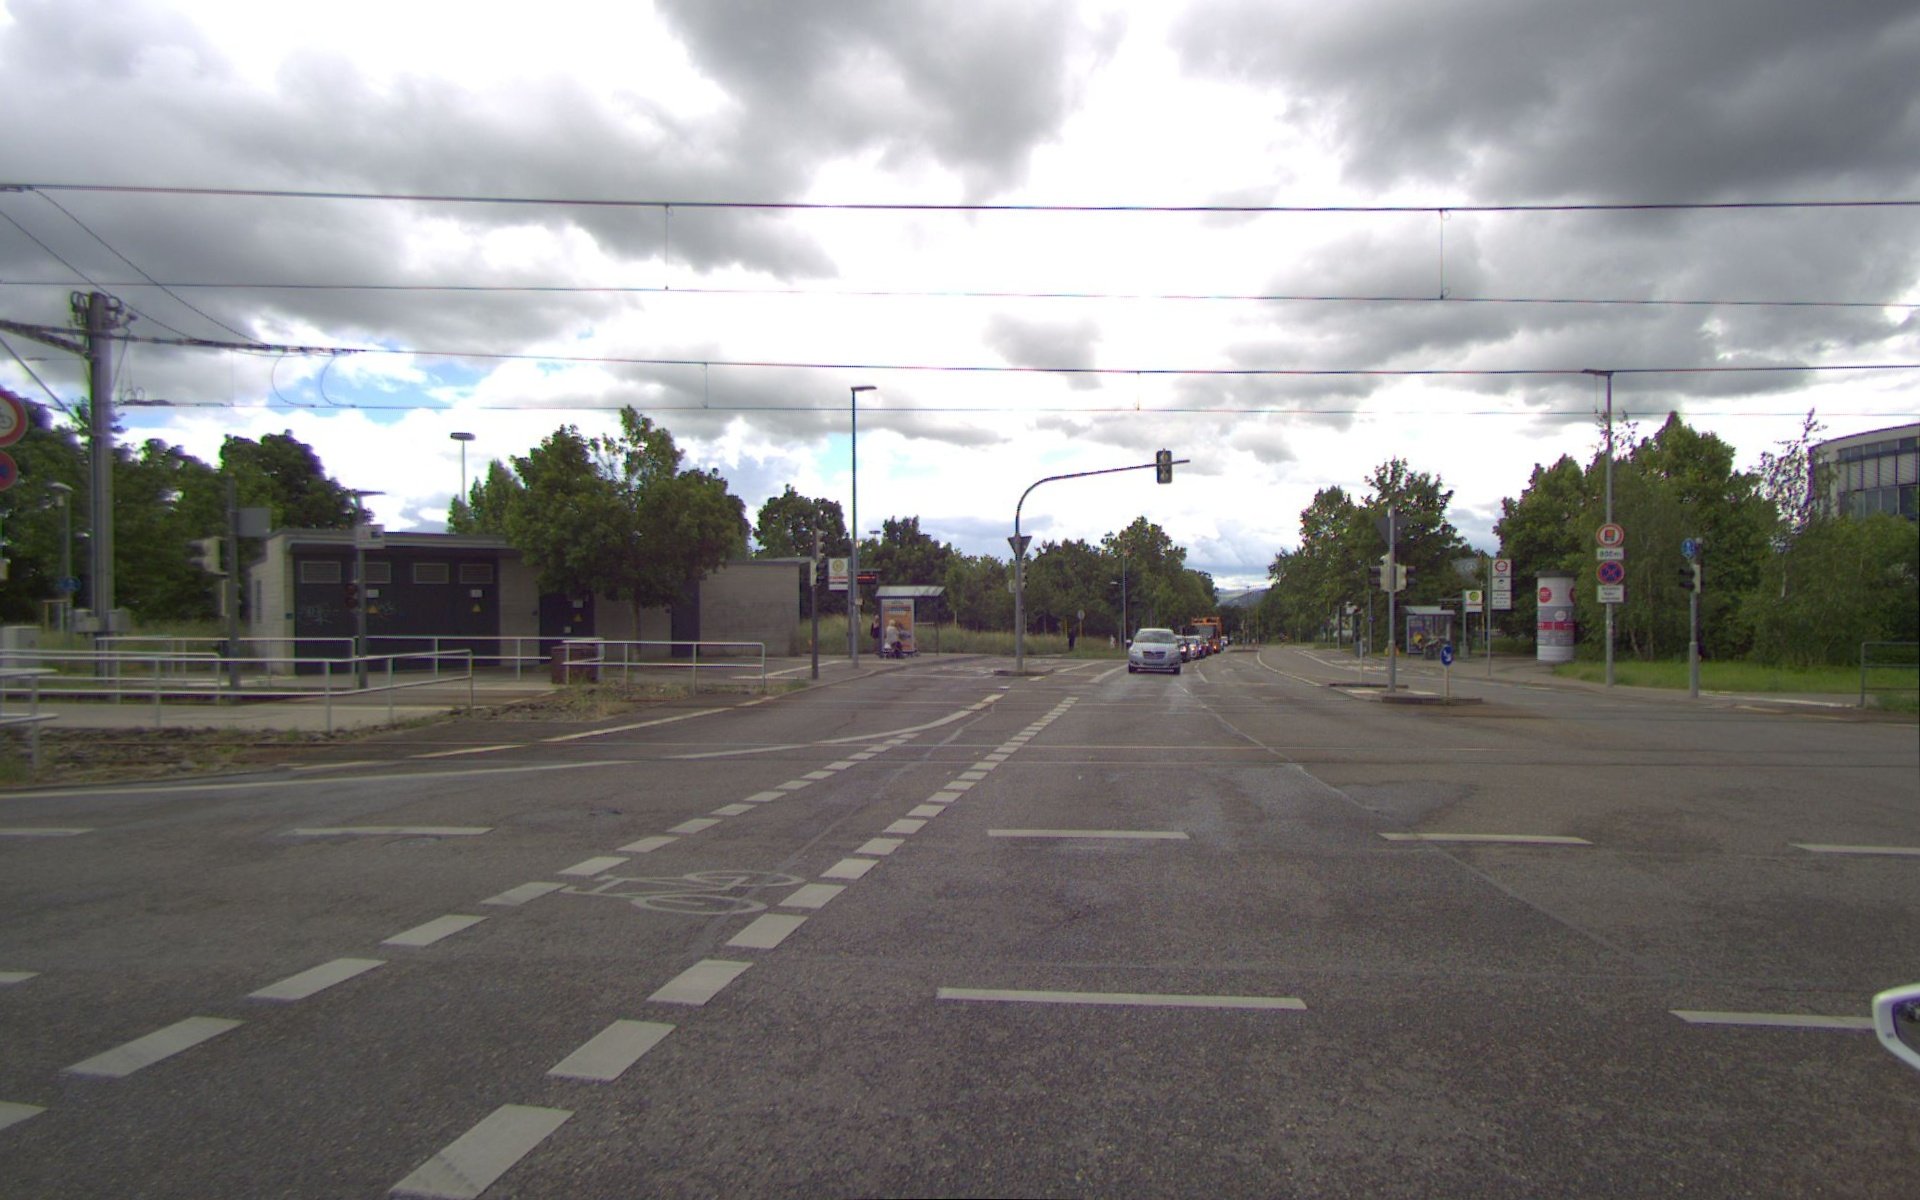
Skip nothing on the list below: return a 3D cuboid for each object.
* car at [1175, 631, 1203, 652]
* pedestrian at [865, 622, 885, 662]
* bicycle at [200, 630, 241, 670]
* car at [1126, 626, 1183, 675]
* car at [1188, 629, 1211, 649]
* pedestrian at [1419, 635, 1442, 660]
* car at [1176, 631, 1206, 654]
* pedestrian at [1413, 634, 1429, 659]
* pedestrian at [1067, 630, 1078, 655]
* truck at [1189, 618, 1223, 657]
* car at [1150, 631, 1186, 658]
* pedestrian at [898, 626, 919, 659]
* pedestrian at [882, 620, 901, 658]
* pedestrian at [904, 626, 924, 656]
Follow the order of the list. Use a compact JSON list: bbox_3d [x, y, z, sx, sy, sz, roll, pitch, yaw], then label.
[{"bbox_3d":[15.714,2.816,68.794,1.612,1.409,4.888,-1,-2,16],"label":"car"},{"bbox_3d":[-3.640,1.791,42.969,0.543,1.692,0.635,-1,-2,43],"label":"pedestrian"},{"bbox_3d":[-21.974,1.451,29.824,0.674,1.120,2.226,2,-2,-44],"label":"bicycle"},{"bbox_3d":[6.767,1.716,34.743,1.796,1.556,4.223,-1,-2,12],"label":"car"},{"bbox_3d":[19.801,3.200,82.996,1.612,1.606,4.063,-1,-2,16],"label":"car"},{"bbox_3d":[24.424,2.463,52.138,0.765,1.269,0.768,1,-2,-25],"label":"pedestrian"},{"bbox_3d":[14.548,2.659,63.106,1.612,1.409,3.764,-1,-2,16],"label":"car"},{"bbox_3d":[24.539,2.477,53.497,0.716,1.333,0.589,0,-1,18],"label":"pedestrian"},{"bbox_3d":[8.485,3.234,75.744,0.709,1.859,0.678,-1,-2,17],"label":"pedestrian"},{"bbox_3d":[23.891,3.606,97.172,2.660,3.533,9.999,-1,-2,16],"label":"truck"},{"bbox_3d":[11.080,2.358,53.375,1.612,1.349,4.063,-1,-2,16],"label":"car"},{"bbox_3d":[-2.110,1.720,40.846,0.758,1.348,0.551,0,-1,8],"label":"pedestrian"},{"bbox_3d":[-2.491,1.410,36.806,0.539,1.381,0.775,0,-1,8],"label":"pedestrian"},{"bbox_3d":[-1.904,1.722,41.909,0.758,1.243,0.551,0,-1,8],"label":"pedestrian"}]
